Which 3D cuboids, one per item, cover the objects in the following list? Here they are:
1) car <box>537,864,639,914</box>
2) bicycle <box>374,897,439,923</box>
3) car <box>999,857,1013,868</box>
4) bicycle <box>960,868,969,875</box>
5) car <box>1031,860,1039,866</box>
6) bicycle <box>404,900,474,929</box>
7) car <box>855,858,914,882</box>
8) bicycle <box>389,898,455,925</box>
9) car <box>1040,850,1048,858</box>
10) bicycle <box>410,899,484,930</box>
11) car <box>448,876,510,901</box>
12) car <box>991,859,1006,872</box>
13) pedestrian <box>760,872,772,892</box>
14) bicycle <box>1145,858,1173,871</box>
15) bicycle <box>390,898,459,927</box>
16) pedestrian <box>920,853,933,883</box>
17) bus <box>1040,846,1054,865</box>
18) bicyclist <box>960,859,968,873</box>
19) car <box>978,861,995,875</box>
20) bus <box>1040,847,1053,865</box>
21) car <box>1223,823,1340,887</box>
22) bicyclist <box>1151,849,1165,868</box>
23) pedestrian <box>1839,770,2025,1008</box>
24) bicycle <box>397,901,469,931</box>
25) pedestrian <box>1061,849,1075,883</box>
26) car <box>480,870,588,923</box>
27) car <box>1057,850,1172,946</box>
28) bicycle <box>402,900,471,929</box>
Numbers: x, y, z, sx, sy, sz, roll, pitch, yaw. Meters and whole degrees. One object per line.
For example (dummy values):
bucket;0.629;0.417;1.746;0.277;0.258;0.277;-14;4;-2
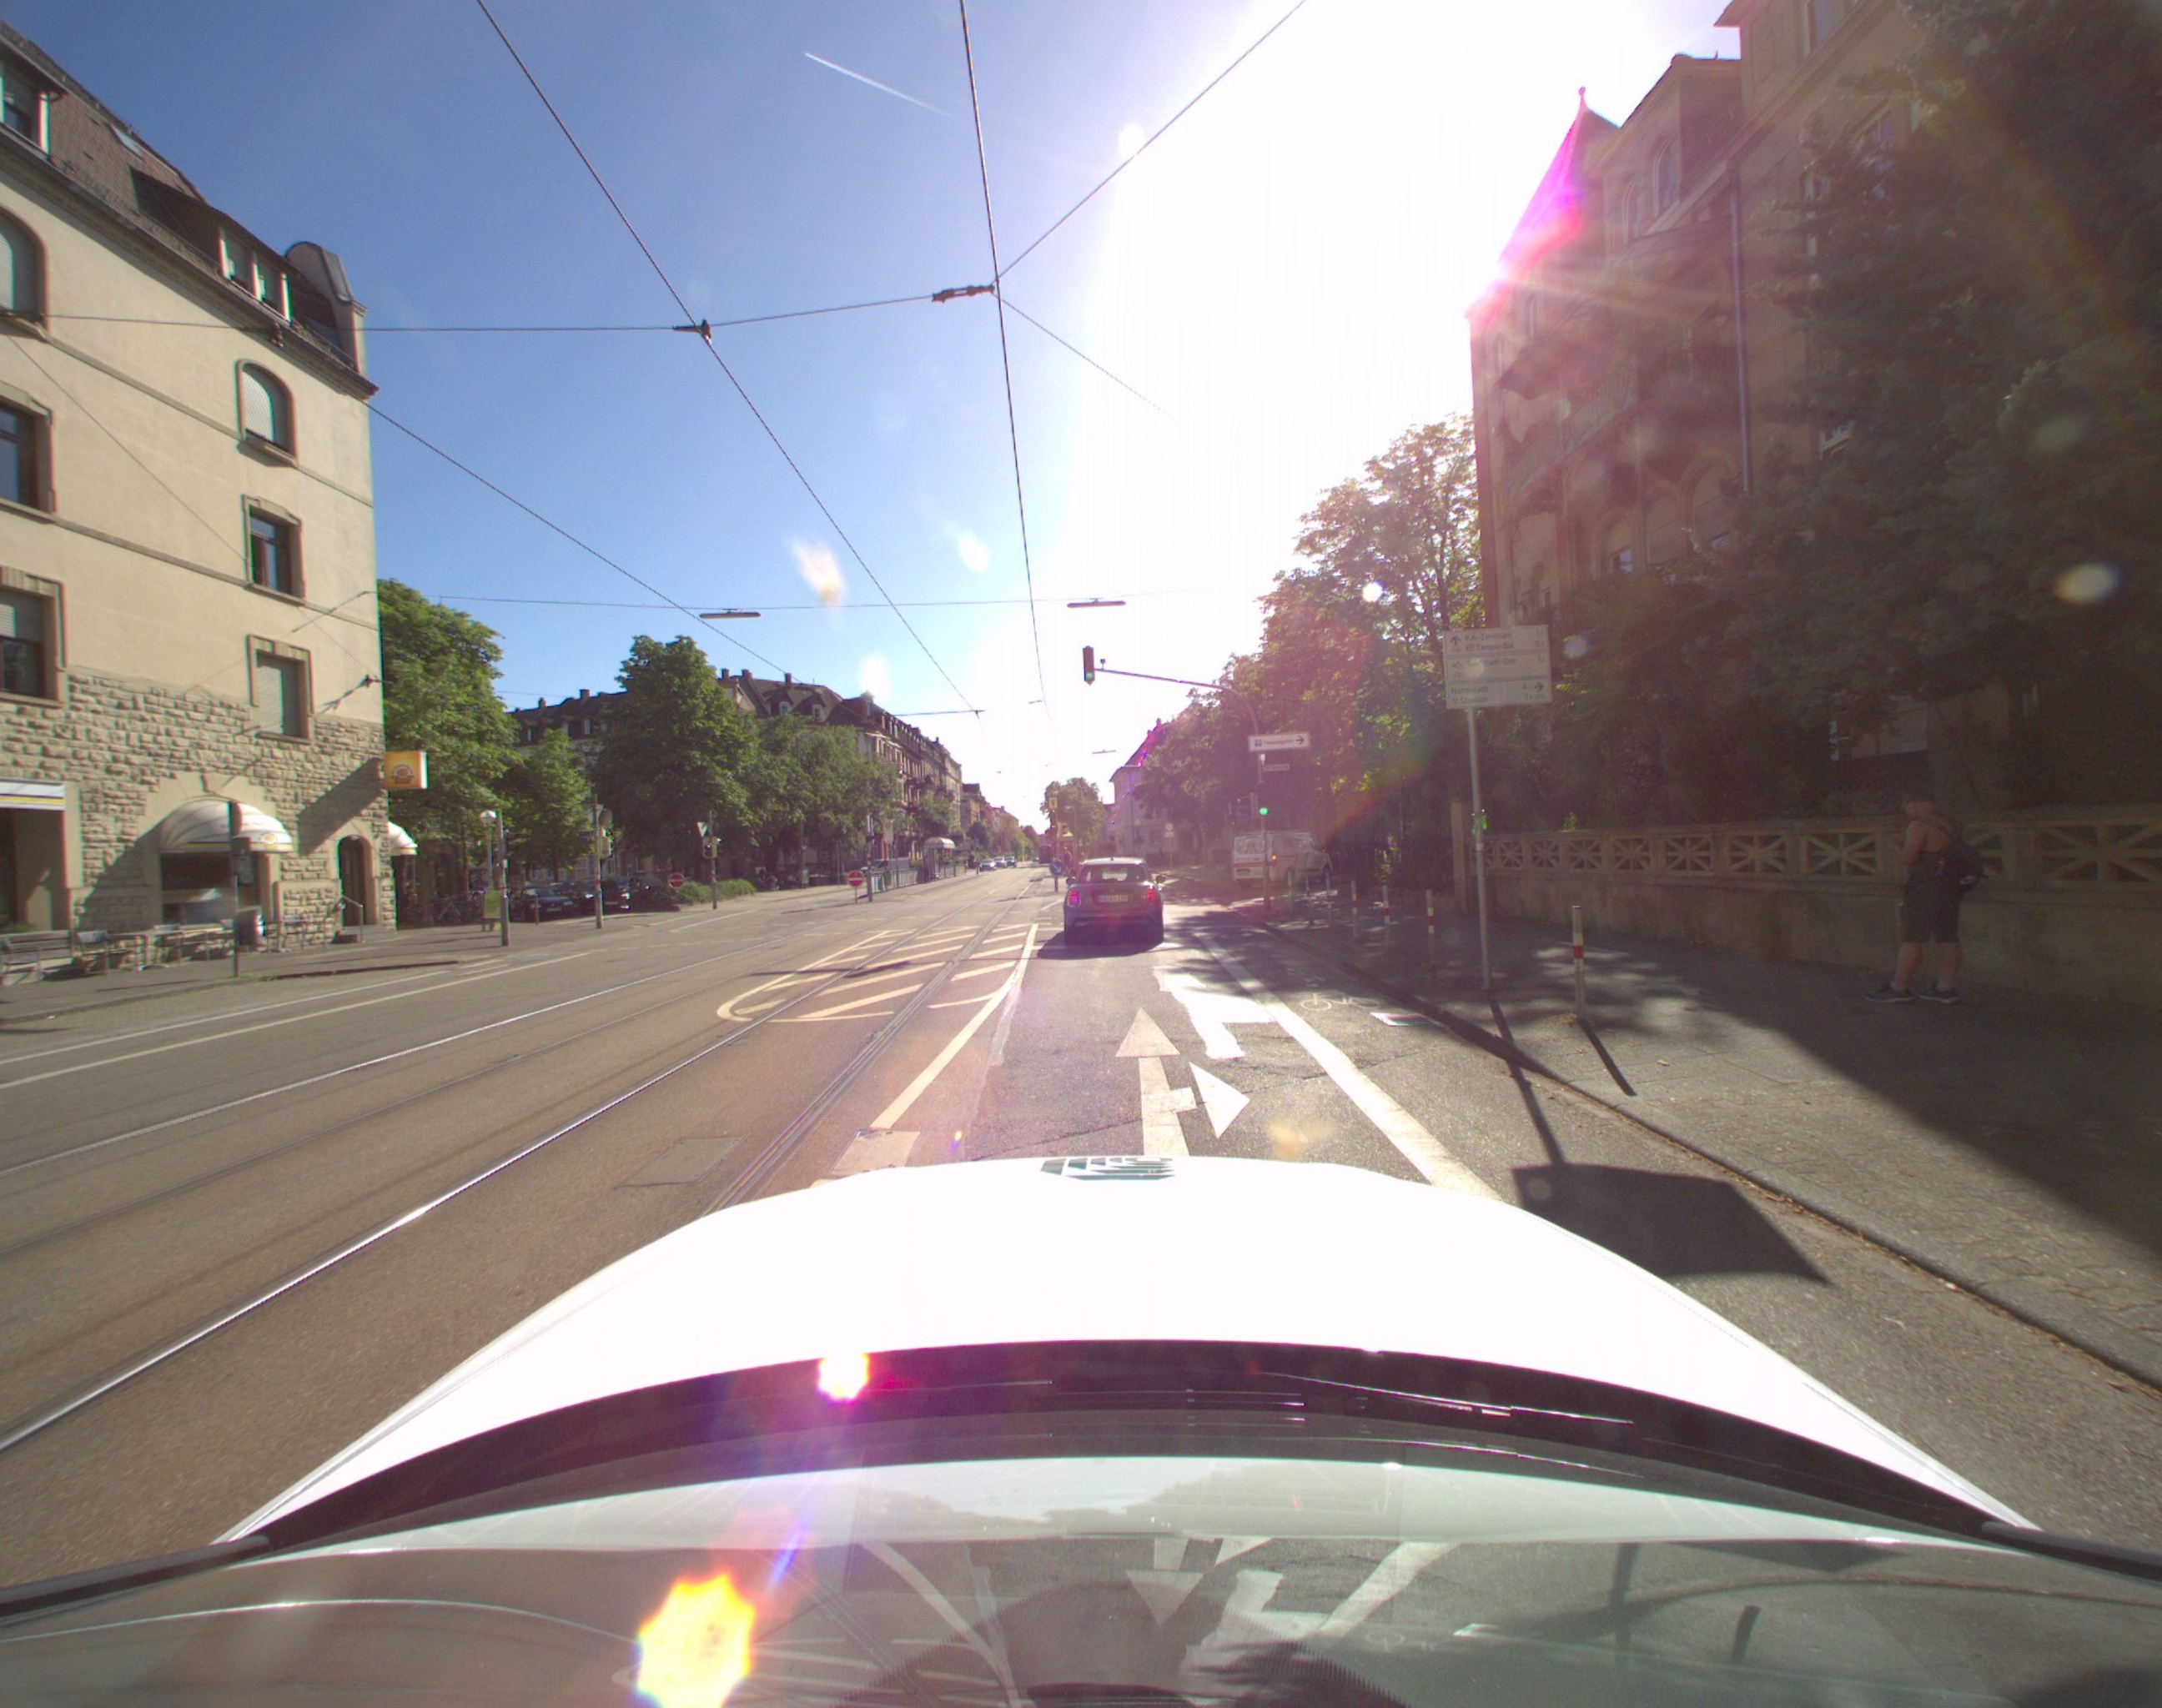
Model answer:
car;-21.383;1.535;35.299;3.949;2.014;2.012;-2;-1;28
bicycle;-28.941;2.391;34.974;0.602;0.980;2.051;-3;-1;37
car;-11.118;1.237;120.986;1.772;1.618;3.995;-2;-1;-3
bicycle;-13.295;2.009;93.069;0.716;0.750;1.917;-2;-1;2
car;-12.416;2.444;219.831;1.987;1.596;3.999;-2;-1;0
bicycle;-24.926;2.346;31.643;0.602;0.980;2.051;-3;-1;37
car;-18.270;1.468;75.989;1.975;2.014;5.059;-3;-1;44
bicycle;-27.339;2.378;33.809;0.602;0.980;2.051;-3;-1;37
car;-8.464;-0.018;185.907;1.860;1.563;3.995;-2;-1;-3
bicycle;-23.275;2.198;29.935;0.602;0.980;2.051;-3;-1;37
car;-53.521;3.045;72.456;4.539;2.014;2.008;-2;-1;16
car;-11.074;1.564;109.078;1.772;1.618;3.995;-2;-1;-3
pedestrian;-19.523;1.722;50.518;0.579;1.201;0.604;-4;0;-19
bicycle;7.688;1.005;80.103;2.509;1.156;0.849;-2;-1;21
bicycle;-26.378;2.334;32.738;0.602;0.980;2.051;-3;-1;37
pedestrian;-9.680;0.871;51.083;0.604;1.795;0.579;-3;0;-3
bus;-6.409;0.326;152.978;2.381;3.496;7.373;-2;-1;-4
bicyclist;-13.308;1.369;92.956;0.711;1.665;0.735;-2;-1;2
car;-11.289;1.672;97.504;1.772;1.618;3.995;-2;-1;-3
bus;-6.837;0.433;160.359;2.381;3.496;7.373;-2;-1;-4
car;7.566;0.029;30.439;2.098;2.208;4.975;-3;-1;41
bicyclist;7.579;0.421;80.165;1.046;1.811;0.824;-2;-1;21
pedestrian;6.424;0.252;6.183;0.590;1.671;0.647;-4;-1;0
bicycle;-24.526;2.327;30.867;0.602;0.980;2.051;-3;-1;37
pedestrian;-0.779;0.716;48.822;0.793;2.014;0.740;-2;-1;-1
car;-22.245;1.713;33.101;3.949;2.014;2.012;-2;-1;28
car;0.558;0.735;15.223;1.809;1.488;4.000;-2;-1;0
bicycle;-25.501;2.381;32.273;0.602;0.980;2.051;-3;-1;37
